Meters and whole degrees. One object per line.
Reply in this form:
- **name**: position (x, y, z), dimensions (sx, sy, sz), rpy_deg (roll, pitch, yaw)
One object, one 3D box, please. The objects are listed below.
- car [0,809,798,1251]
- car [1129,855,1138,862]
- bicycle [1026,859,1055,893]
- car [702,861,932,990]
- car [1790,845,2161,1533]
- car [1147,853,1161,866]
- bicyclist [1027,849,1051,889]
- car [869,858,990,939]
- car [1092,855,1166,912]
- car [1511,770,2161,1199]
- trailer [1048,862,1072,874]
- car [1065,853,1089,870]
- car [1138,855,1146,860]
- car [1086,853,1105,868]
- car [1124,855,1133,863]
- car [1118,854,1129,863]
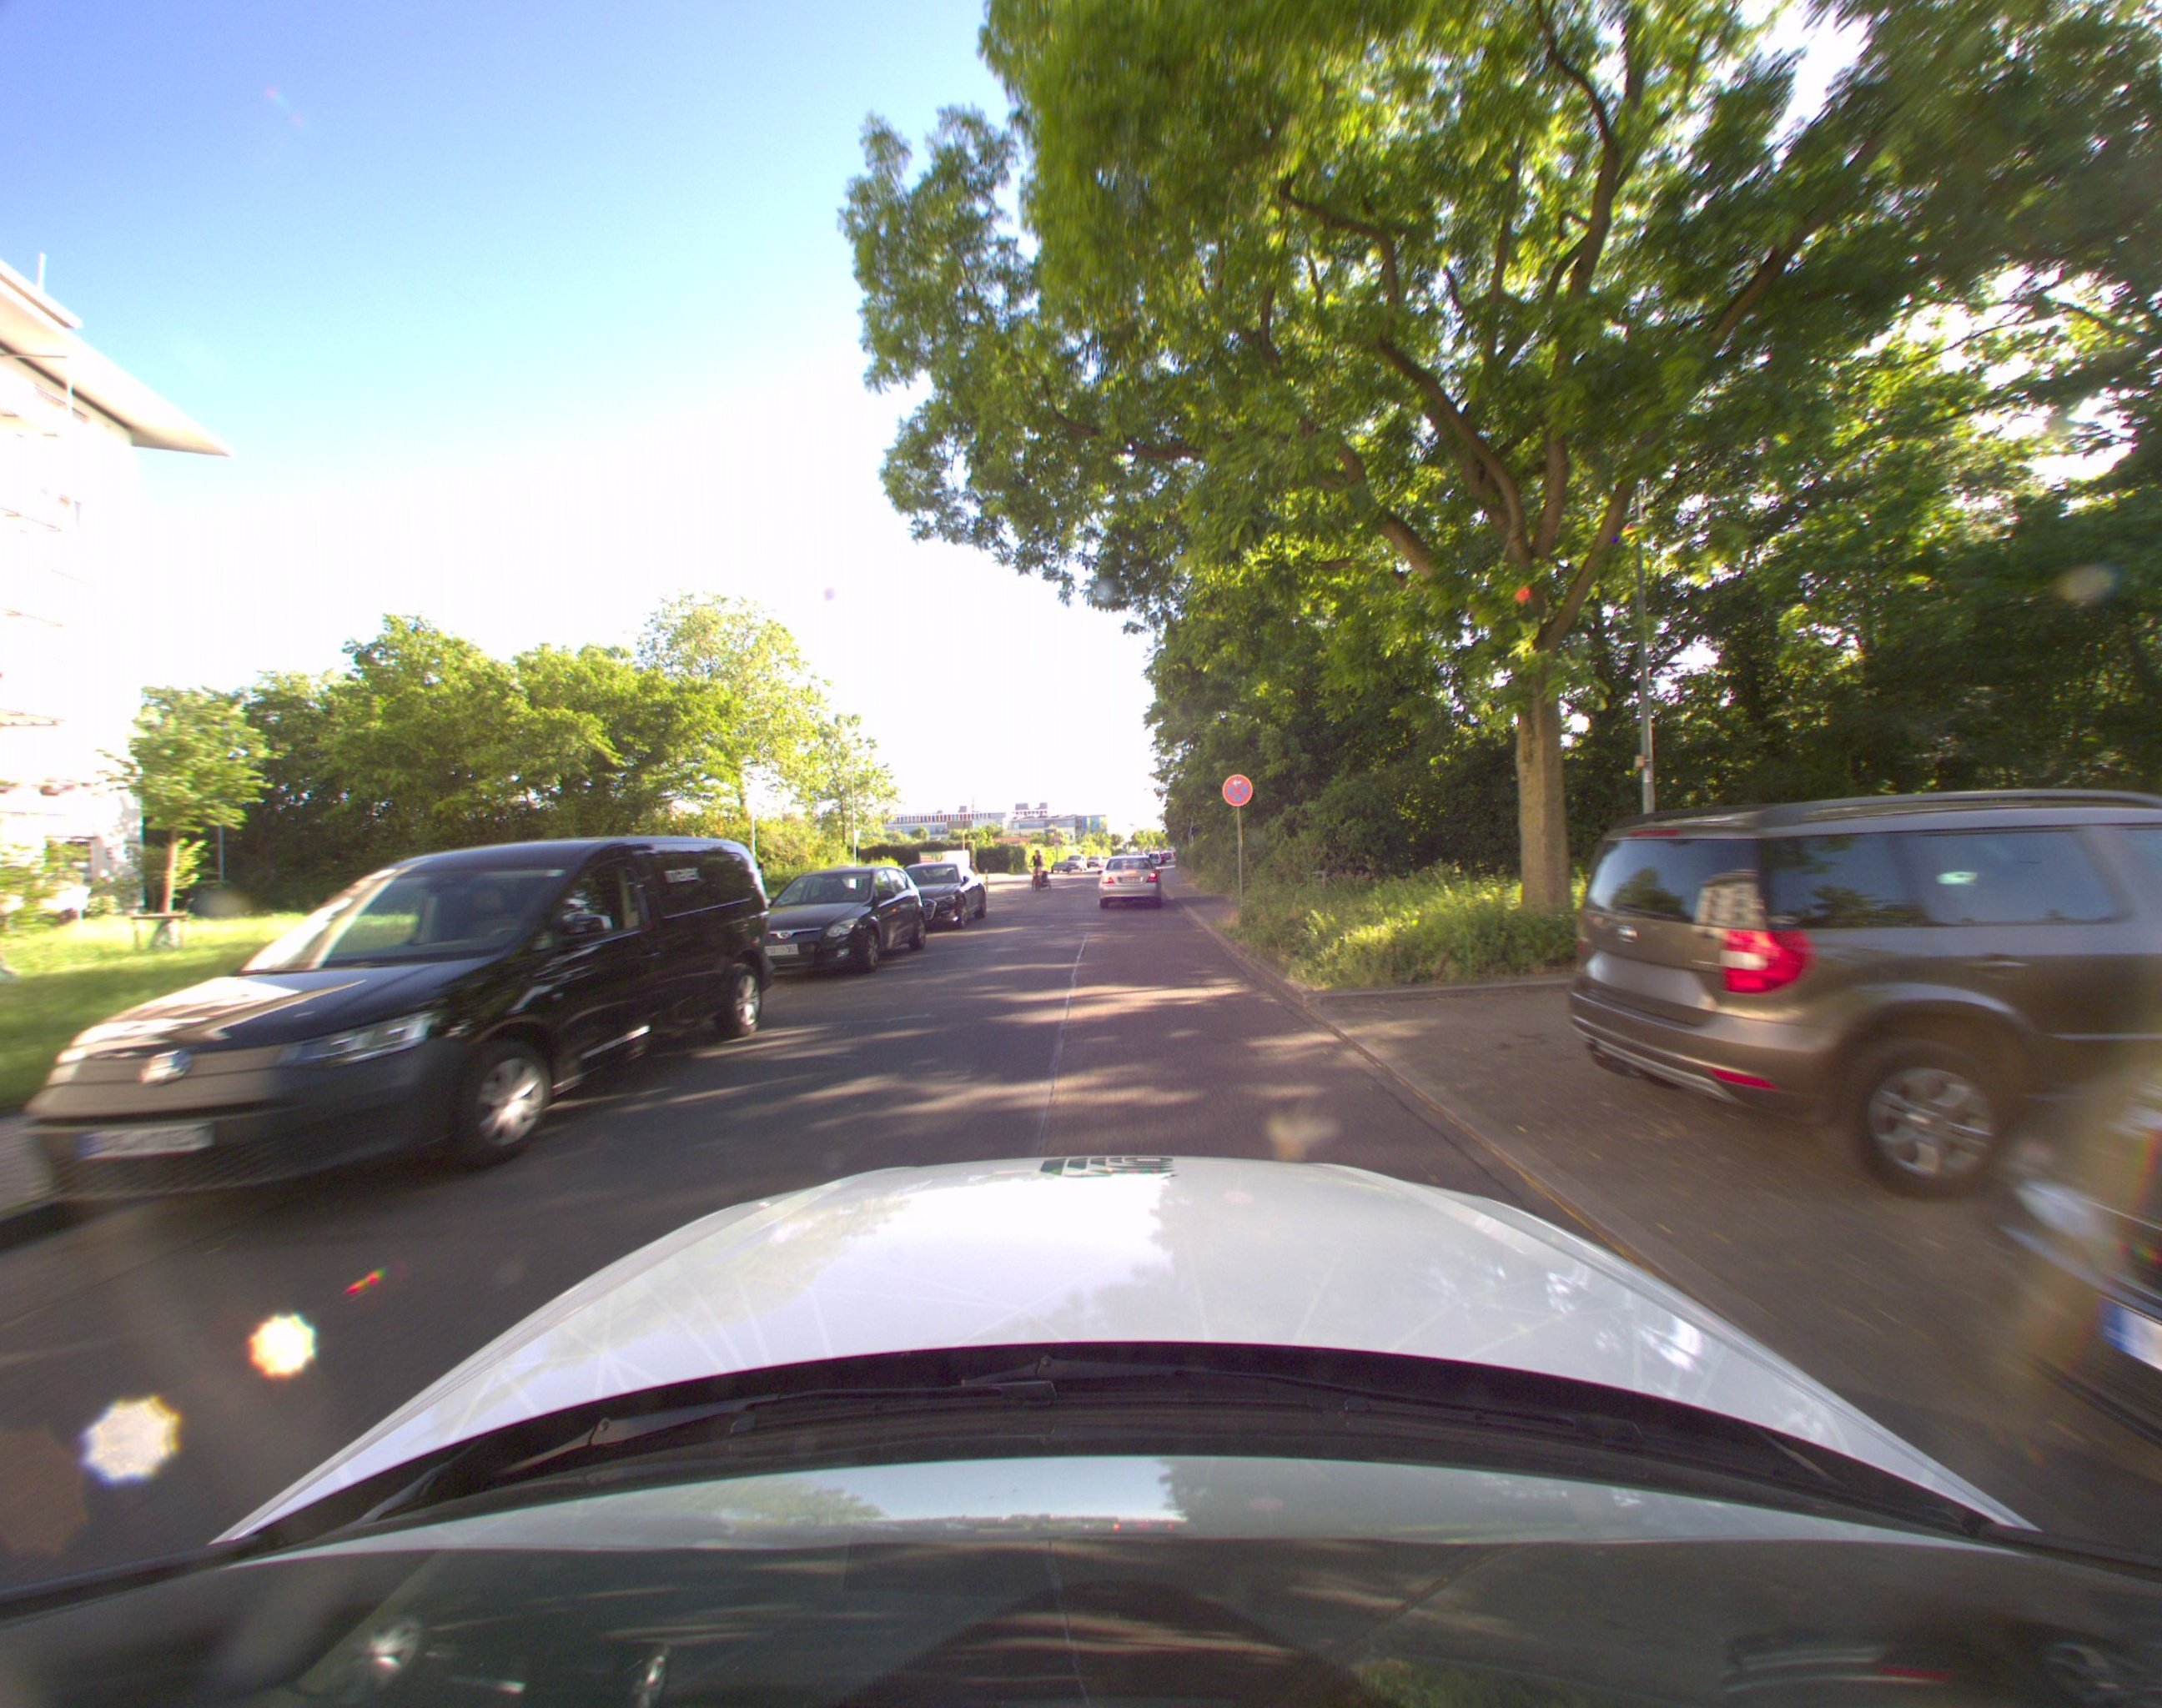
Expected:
- **car**: position (-3.929, 0.764, 5.910), dimensions (1.833, 1.780, 4.890), rpy_deg (-4, 0, 1)
- **car**: position (11.460, 0.895, 176.967), dimensions (1.551, 1.495, 3.765), rpy_deg (-3, 0, 7)
- **bicycle**: position (-1.726, 0.914, 35.178), dimensions (0.847, 1.370, 3.223), rpy_deg (-2, 0, 3)
- **car**: position (-3.697, 0.921, 12.245), dimensions (1.832, 1.454, 4.022), rpy_deg (-4, 0, 3)
- **car**: position (4.487, 0.623, 1.697), dimensions (4.436, 1.414, 1.775), rpy_deg (-3, 0, 0)
- **car**: position (8.471, 0.646, 94.694), dimensions (1.547, 1.538, 3.562), rpy_deg (0, 0, 7)
- **bicyclist**: position (-1.772, 0.622, 34.483), dimensions (0.841, 1.658, 1.065), rpy_deg (-2, -1, 3)
- **car**: position (-3.343, 0.914, 18.909), dimensions (1.721, 1.463, 4.684), rpy_deg (-3, 1, 1)
- **car**: position (1.290, 0.776, 23.384), dimensions (1.733, 1.453, 3.996), rpy_deg (-1, 0, -2)
- **car**: position (4.788, 0.482, 4.204), dimensions (4.131, 1.695, 1.776), rpy_deg (-3, 0, 3)
- **trailer**: position (-1.737, 1.124, 67.519), dimensions (1.535, 0.953, 2.654), rpy_deg (-1, 0, 9)
- **car**: position (-0.366, 0.687, 77.582), dimensions (1.634, 1.600, 4.322), rpy_deg (-1, 0, 9)
- **car**: position (15.500, 0.864, 206.273), dimensions (1.845, 1.428, 4.142), rpy_deg (-1, 0, 7)
- **car**: position (1.738, 0.757, 95.292), dimensions (1.635, 1.556, 4.426), rpy_deg (-3, 0, 7)
- **car**: position (9.343, 0.936, 160.019), dimensions (1.551, 1.495, 3.577), rpy_deg (0, 0, 7)
- **car**: position (7.453, 0.837, 141.904), dimensions (1.551, 1.495, 3.577), rpy_deg (-3, 0, 7)
